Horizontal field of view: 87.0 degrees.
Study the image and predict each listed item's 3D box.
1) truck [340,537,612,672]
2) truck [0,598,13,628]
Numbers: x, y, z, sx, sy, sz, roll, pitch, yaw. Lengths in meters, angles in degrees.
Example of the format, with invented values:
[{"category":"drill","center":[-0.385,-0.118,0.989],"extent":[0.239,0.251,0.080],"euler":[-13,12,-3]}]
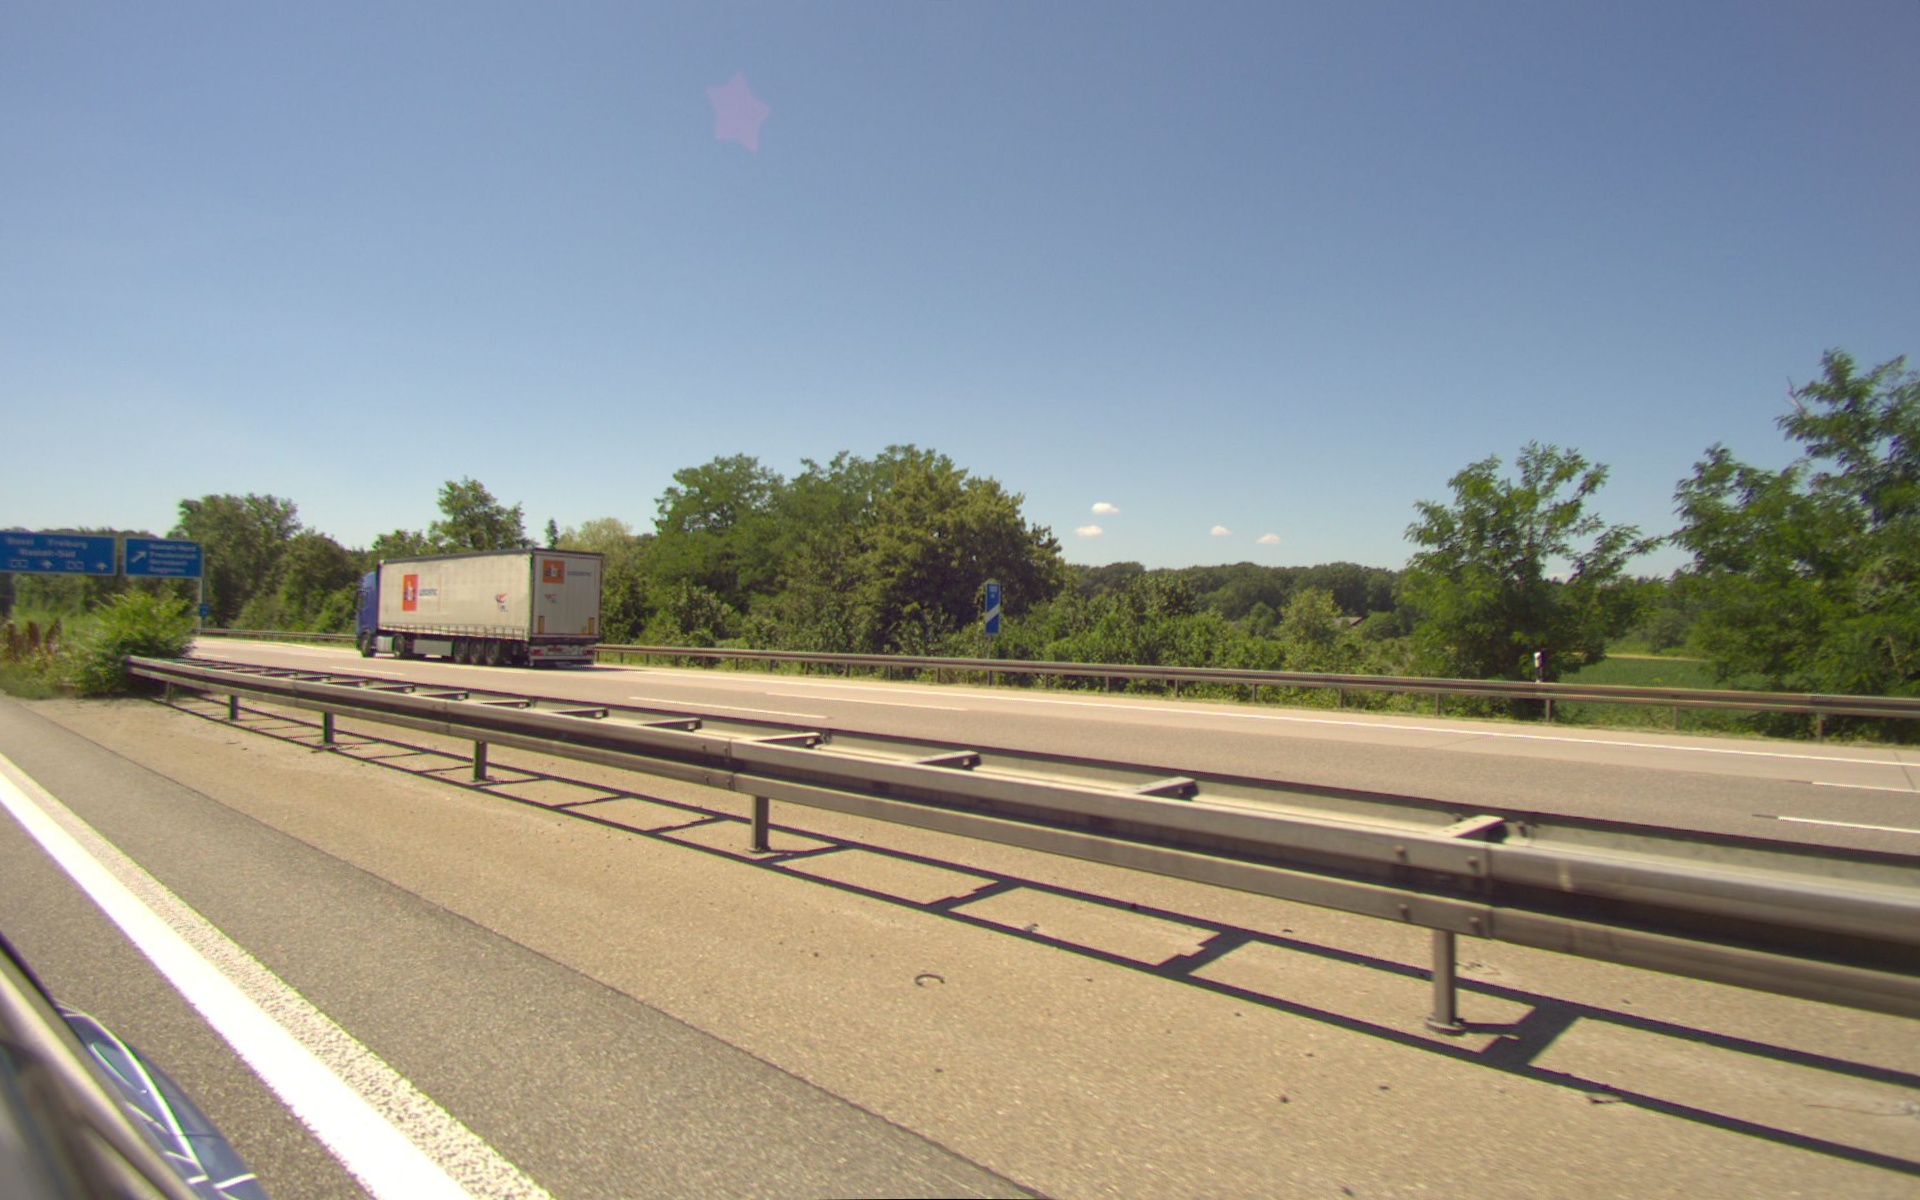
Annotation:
[{"category":"truck","center":[-19.596,0.273,39.703],"extent":[17.462,4.375,2.924],"euler":[-1,-2,41]},{"category":"truck","center":[-145.284,1.933,151.820],"extent":[18.233,4.375,2.924],"euler":[-1,-2,41]}]
